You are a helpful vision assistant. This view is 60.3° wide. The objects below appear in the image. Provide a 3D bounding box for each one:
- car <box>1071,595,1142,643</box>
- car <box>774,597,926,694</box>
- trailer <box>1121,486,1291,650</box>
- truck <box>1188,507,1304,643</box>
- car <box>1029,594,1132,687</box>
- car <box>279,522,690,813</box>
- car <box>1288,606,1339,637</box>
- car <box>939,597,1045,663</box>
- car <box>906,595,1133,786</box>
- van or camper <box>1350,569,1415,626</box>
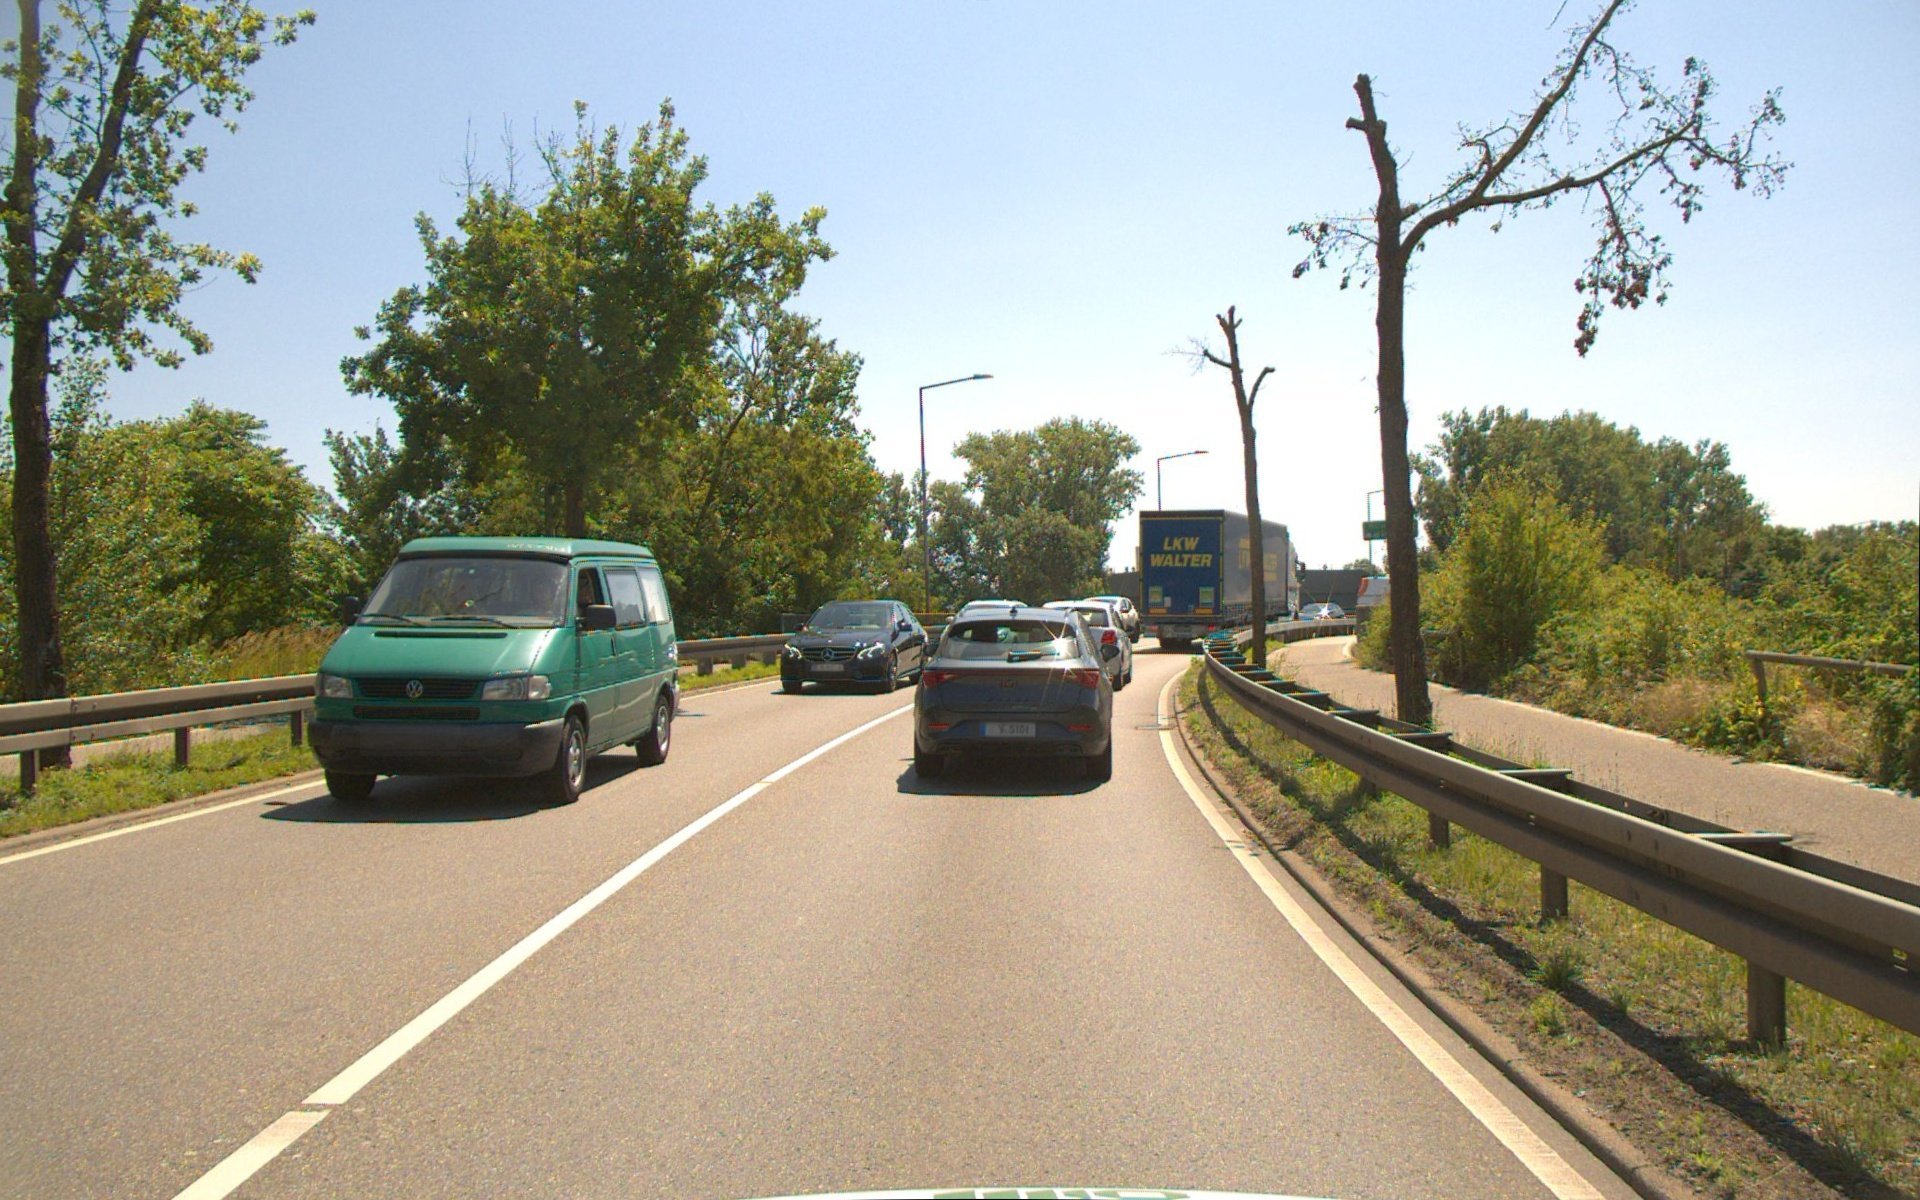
[{"bbox_3d":[5.015,0.609,56.190,1.709,1.573,4.396,0,0,14],"label":"car"},{"bbox_3d":[-1.758,0.698,27.969,1.807,1.493,4.744,0,0,5],"label":"car"},{"bbox_3d":[8.332,-0.905,54.052,3.069,4.695,12.951,1,0,19],"label":"trailer"},{"bbox_3d":[10.586,-0.831,60.589,3.104,4.665,7.399,0,-1,18],"label":"truck"},{"bbox_3d":[2.130,0.654,28.445,1.559,1.486,3.547,1,0,7],"label":"car"},{"bbox_3d":[-3.629,0.459,13.634,1.792,1.972,4.777,0,0,3],"label":"car"},{"bbox_3d":[17.858,1.063,83.319,1.721,1.468,4.567,0,0,22],"label":"car"},{"bbox_3d":[0.831,0.667,39.598,1.664,1.472,4.463,0,0,12],"label":"car"},{"bbox_3d":[0.517,0.723,15.100,1.807,1.525,3.758,0,0,1],"label":"car"},{"bbox_3d":[21.263,-0.123,83.087,2.159,2.758,5.922,0,0,24],"label":"van or camper"}]
